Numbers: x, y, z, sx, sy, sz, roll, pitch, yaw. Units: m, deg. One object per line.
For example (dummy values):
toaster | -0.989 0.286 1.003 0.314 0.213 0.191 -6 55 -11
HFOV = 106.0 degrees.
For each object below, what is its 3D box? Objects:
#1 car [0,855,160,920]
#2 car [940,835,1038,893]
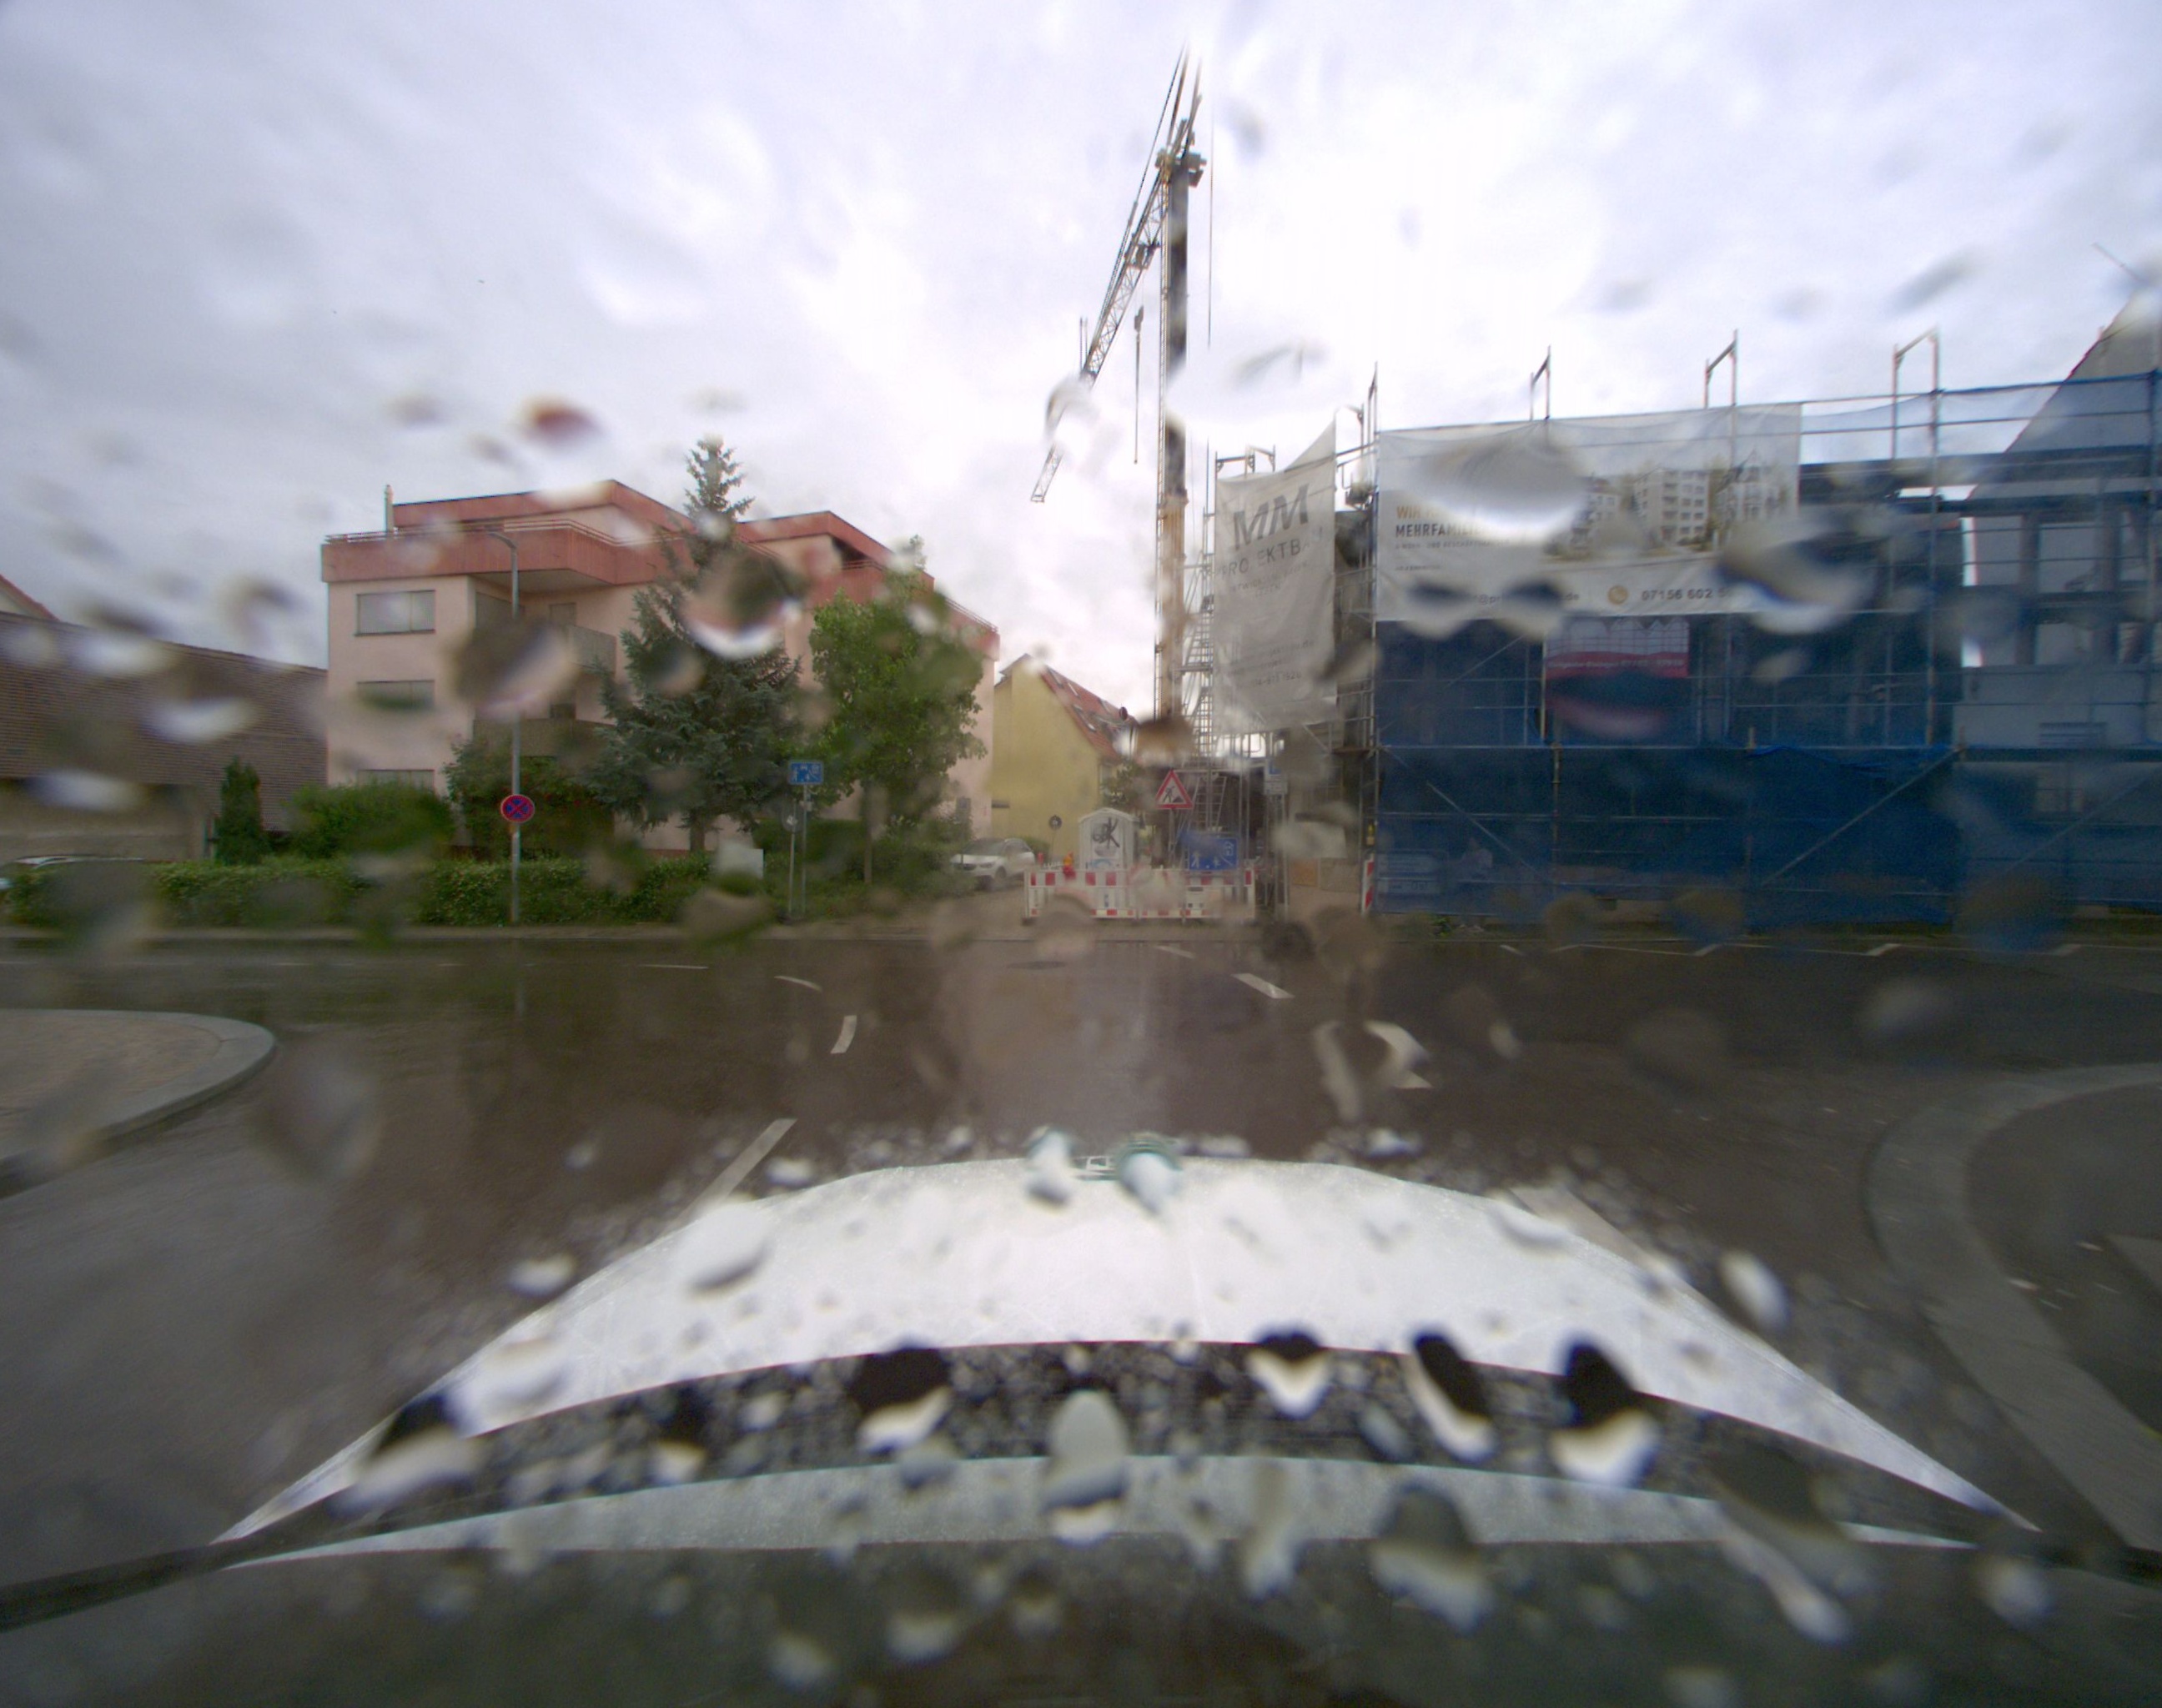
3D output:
car | -29.865 0.929 23.261 1.882 1.649 4.250 0 1 17
car | -2.870 0.251 26.249 1.587 1.677 3.957 2 2 18
